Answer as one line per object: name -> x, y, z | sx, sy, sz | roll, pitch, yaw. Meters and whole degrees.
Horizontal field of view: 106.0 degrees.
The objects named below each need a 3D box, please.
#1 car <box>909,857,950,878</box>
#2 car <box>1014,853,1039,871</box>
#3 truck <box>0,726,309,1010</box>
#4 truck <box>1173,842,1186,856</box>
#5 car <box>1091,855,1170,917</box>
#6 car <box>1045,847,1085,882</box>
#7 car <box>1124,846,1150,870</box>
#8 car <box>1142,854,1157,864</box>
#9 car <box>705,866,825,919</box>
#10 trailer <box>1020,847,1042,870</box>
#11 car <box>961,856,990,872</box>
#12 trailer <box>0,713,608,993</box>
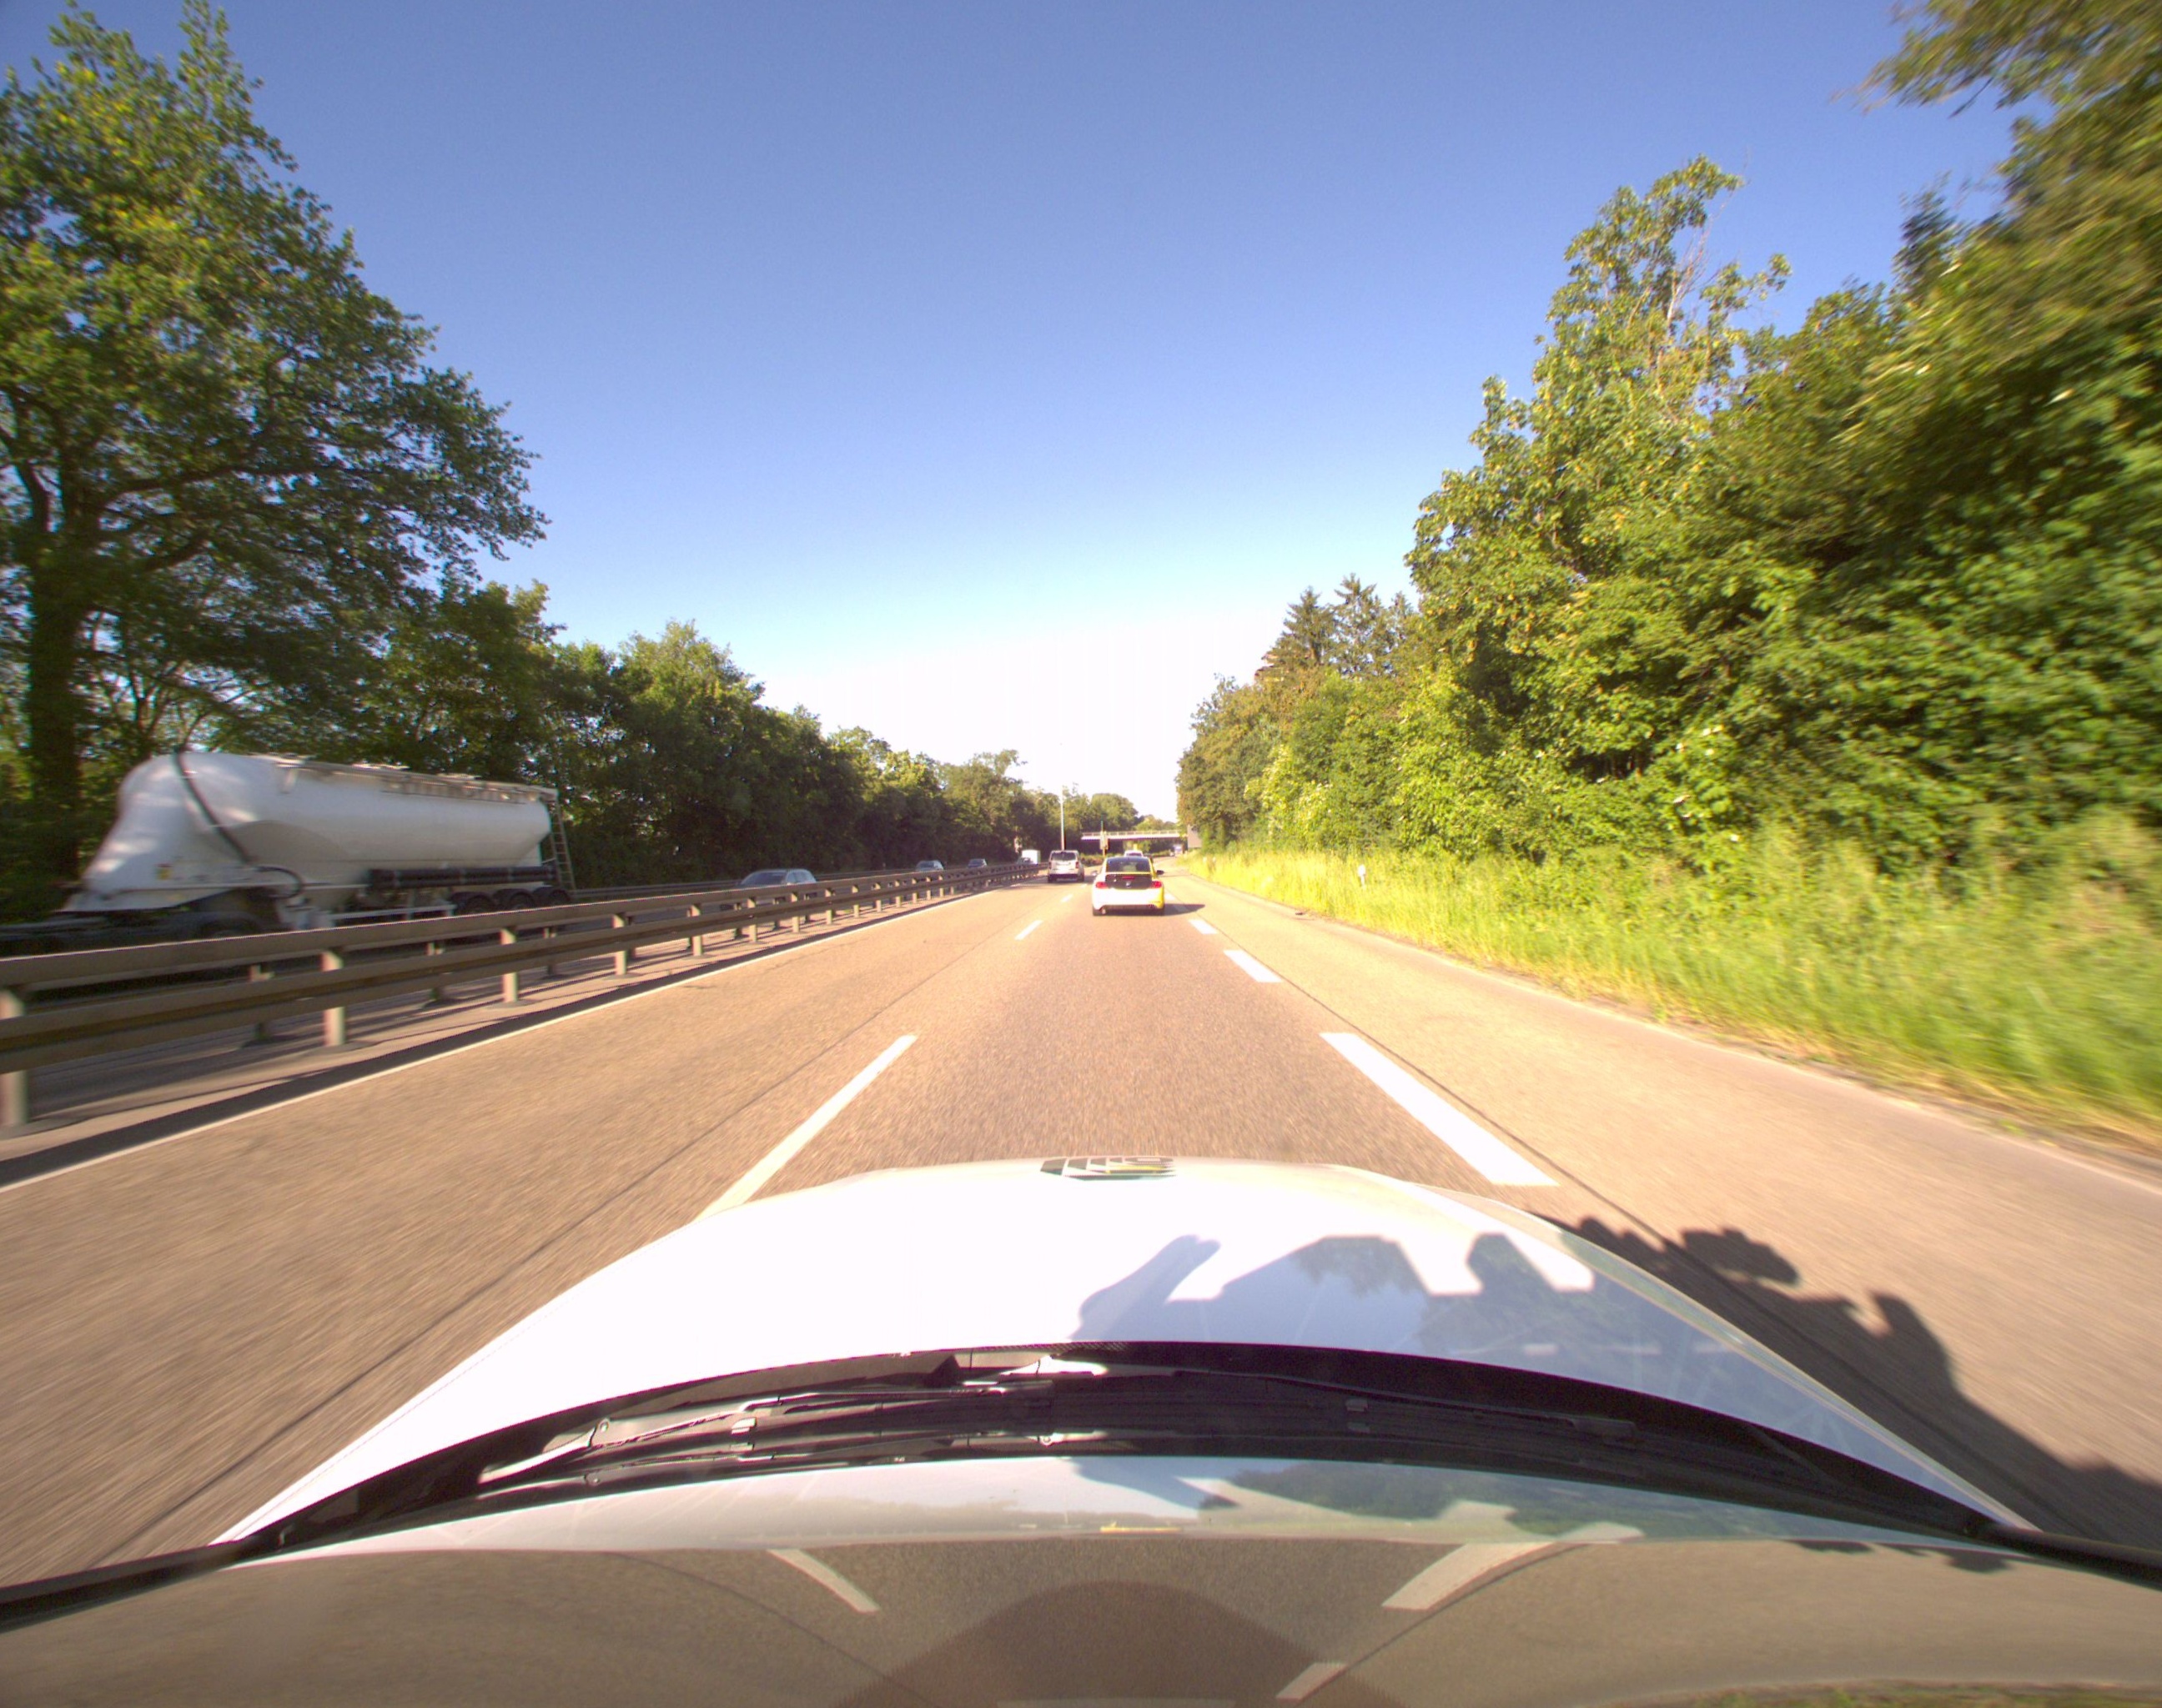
car -> -11.859, 1.028, 64.121 | 2.063, 1.467, 4.989 | -1, 0, 2
car -> -5.746, 0.822, 86.587 | 2.064, 1.748, 5.226 | -2, 0, 1
truck -> -15.257, 0.227, 11.279 | 2.969, 3.630, 6.160 | -2, 0, 3
truck -> 31.290, -1.638, 258.528 | 3.474, 4.172, 8.886 | -2, 0, 10
car -> 1.247, 0.754, 21.524 | 1.872, 1.461, 4.357 | 0, 0, 1
car -> -0.877, 0.556, 45.439 | 2.079, 1.828, 3.998 | -2, 0, -1
car -> 4.330, 0.302, 63.139 | 1.855, 1.770, 4.474 | -2, 0, 3
car -> 10.877, 0.810, 128.186 | 1.981, 1.398, 4.011 | -1, 0, 10
car -> -10.299, 1.194, 26.975 | 1.790, 1.467, 4.702 | -2, 0, 4
trailer -> -5.590, 0.461, 91.513 | 1.986, 2.437, 4.608 | -2, 0, 1
car -> -10.712, 0.989, 82.947 | 2.063, 1.614, 5.062 | -1, 0, 2
trailer -> -15.032, -0.003, 17.302 | 3.040, 3.997, 10.979 | -2, 0, 2
